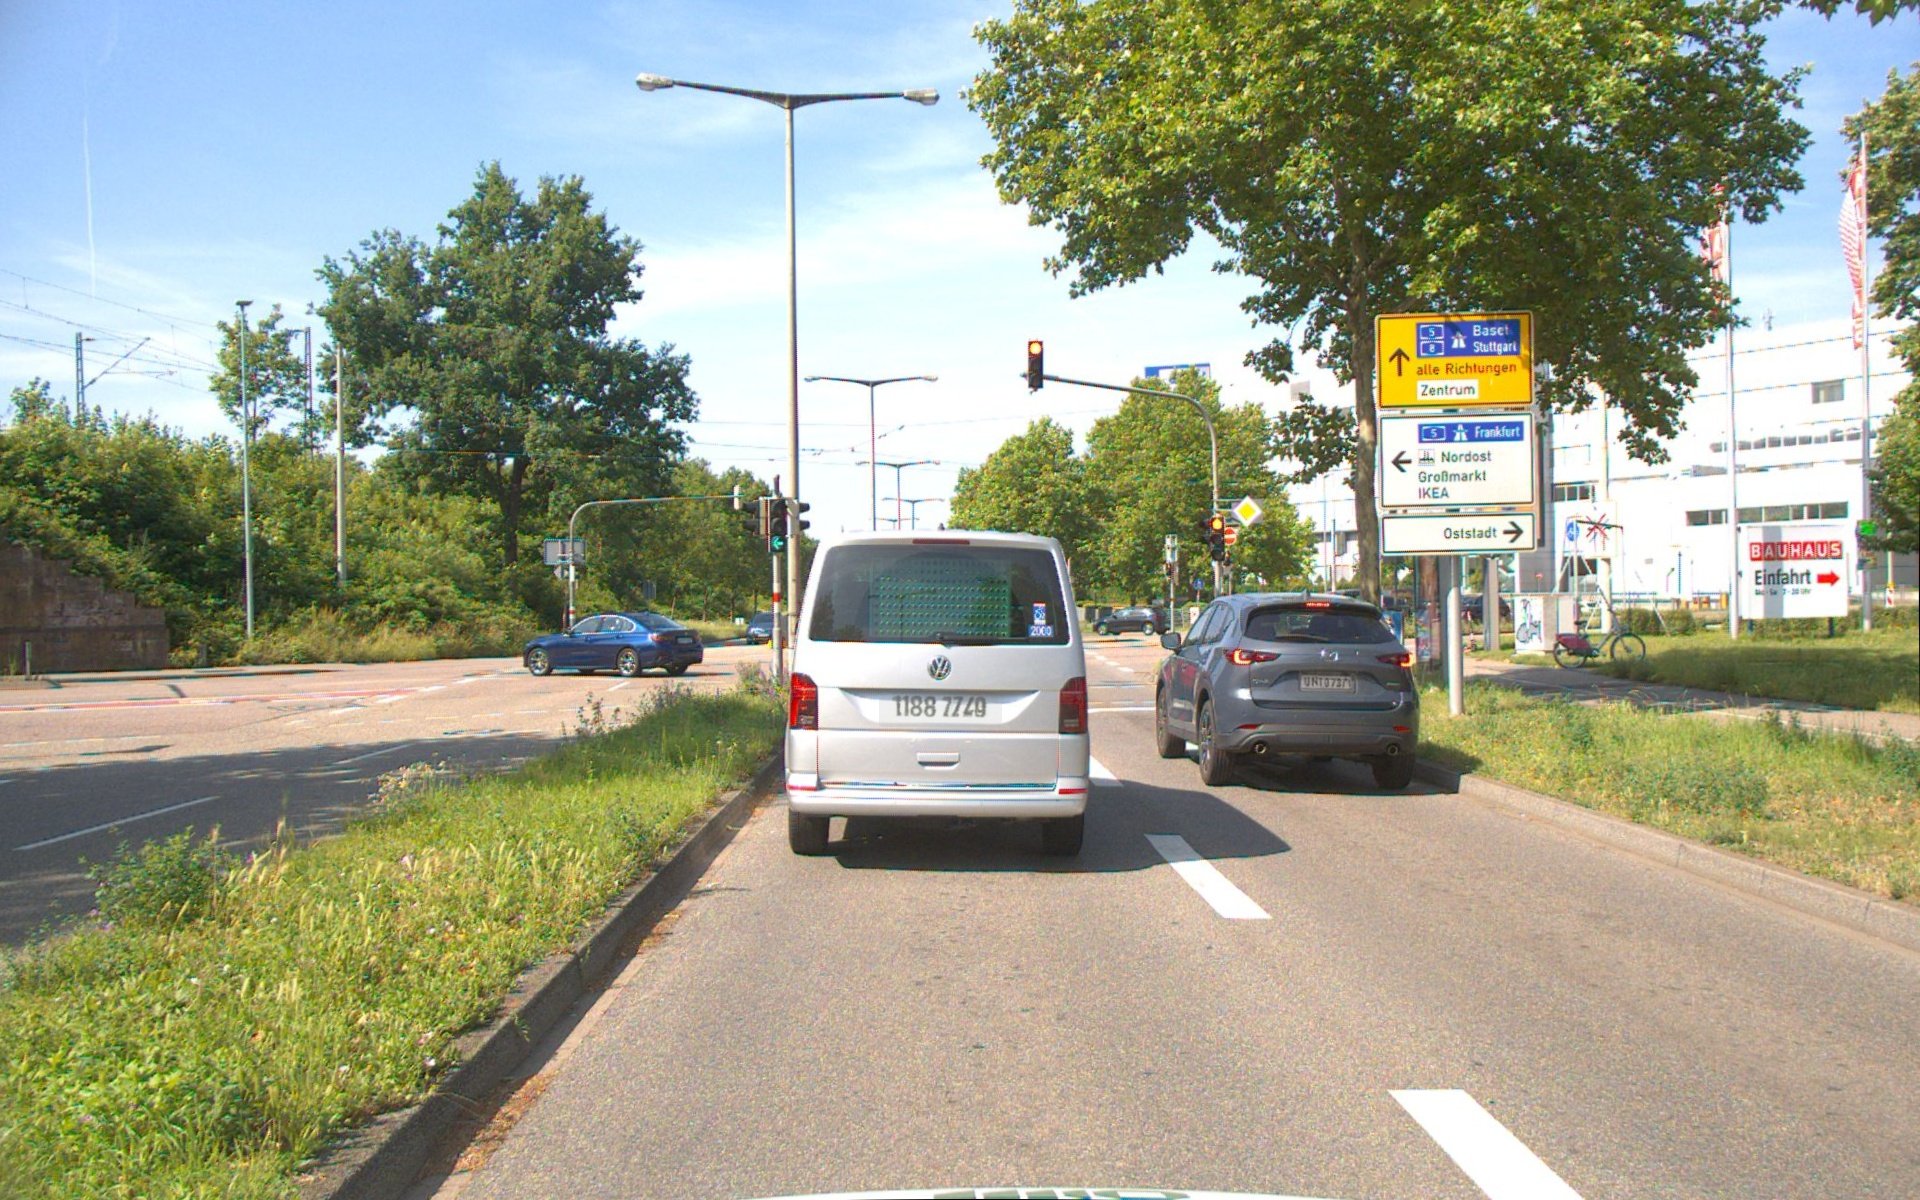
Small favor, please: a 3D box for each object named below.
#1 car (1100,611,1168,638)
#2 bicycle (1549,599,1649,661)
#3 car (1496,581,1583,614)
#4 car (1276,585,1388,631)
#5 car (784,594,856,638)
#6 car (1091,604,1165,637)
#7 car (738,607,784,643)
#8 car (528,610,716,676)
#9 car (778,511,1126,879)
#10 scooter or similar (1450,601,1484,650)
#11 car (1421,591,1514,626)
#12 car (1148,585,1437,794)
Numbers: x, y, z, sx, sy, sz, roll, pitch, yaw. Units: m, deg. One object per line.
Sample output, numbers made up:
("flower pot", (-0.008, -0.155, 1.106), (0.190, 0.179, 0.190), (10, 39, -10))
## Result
("car", (8.689, 1.235, 82.760), (3.177, 1.258, 1.647), (-1, 0, -3))
("bicycle", (12.535, 0.592, 32.480), (1.748, 1.127, 0.504), (-3, -1, 18))
("car", (27.873, -0.111, 79.503), (4.578, 1.469, 1.758), (-1, 0, -38))
("car", (14.891, 0.324, 66.074), (4.578, 1.718, 1.890), (-1, 0, -38))
("car", (-5.338, 0.604, 62.740), (1.816, 1.537, 4.372), (-1, 0, -17))
("car", (8.452, 1.013, 82.976), (3.518, 1.593, 2.002), (1, -1, 12))
("car", (-9.354, 1.157, 77.949), (1.813, 1.589, 3.997), (-1, 0, -3))
("car", (-7.861, 0.988, 38.366), (4.234, 1.421, 1.787), (-1, 0, 33))
("car", (-0.079, 0.532, 11.614), (1.902, 2.006, 5.021), (0, 0, -1))
("scooter or similar", (12.123, 0.612, 39.604), (0.416, 1.146, 1.123), (-1, 0, -2))
("car", (23.395, 0.375, 76.169), (4.578, 1.469, 1.758), (-1, 0, -38))
("car", (2.988, 0.745, 15.799), (1.730, 1.688, 4.494), (1, 0, -2))
